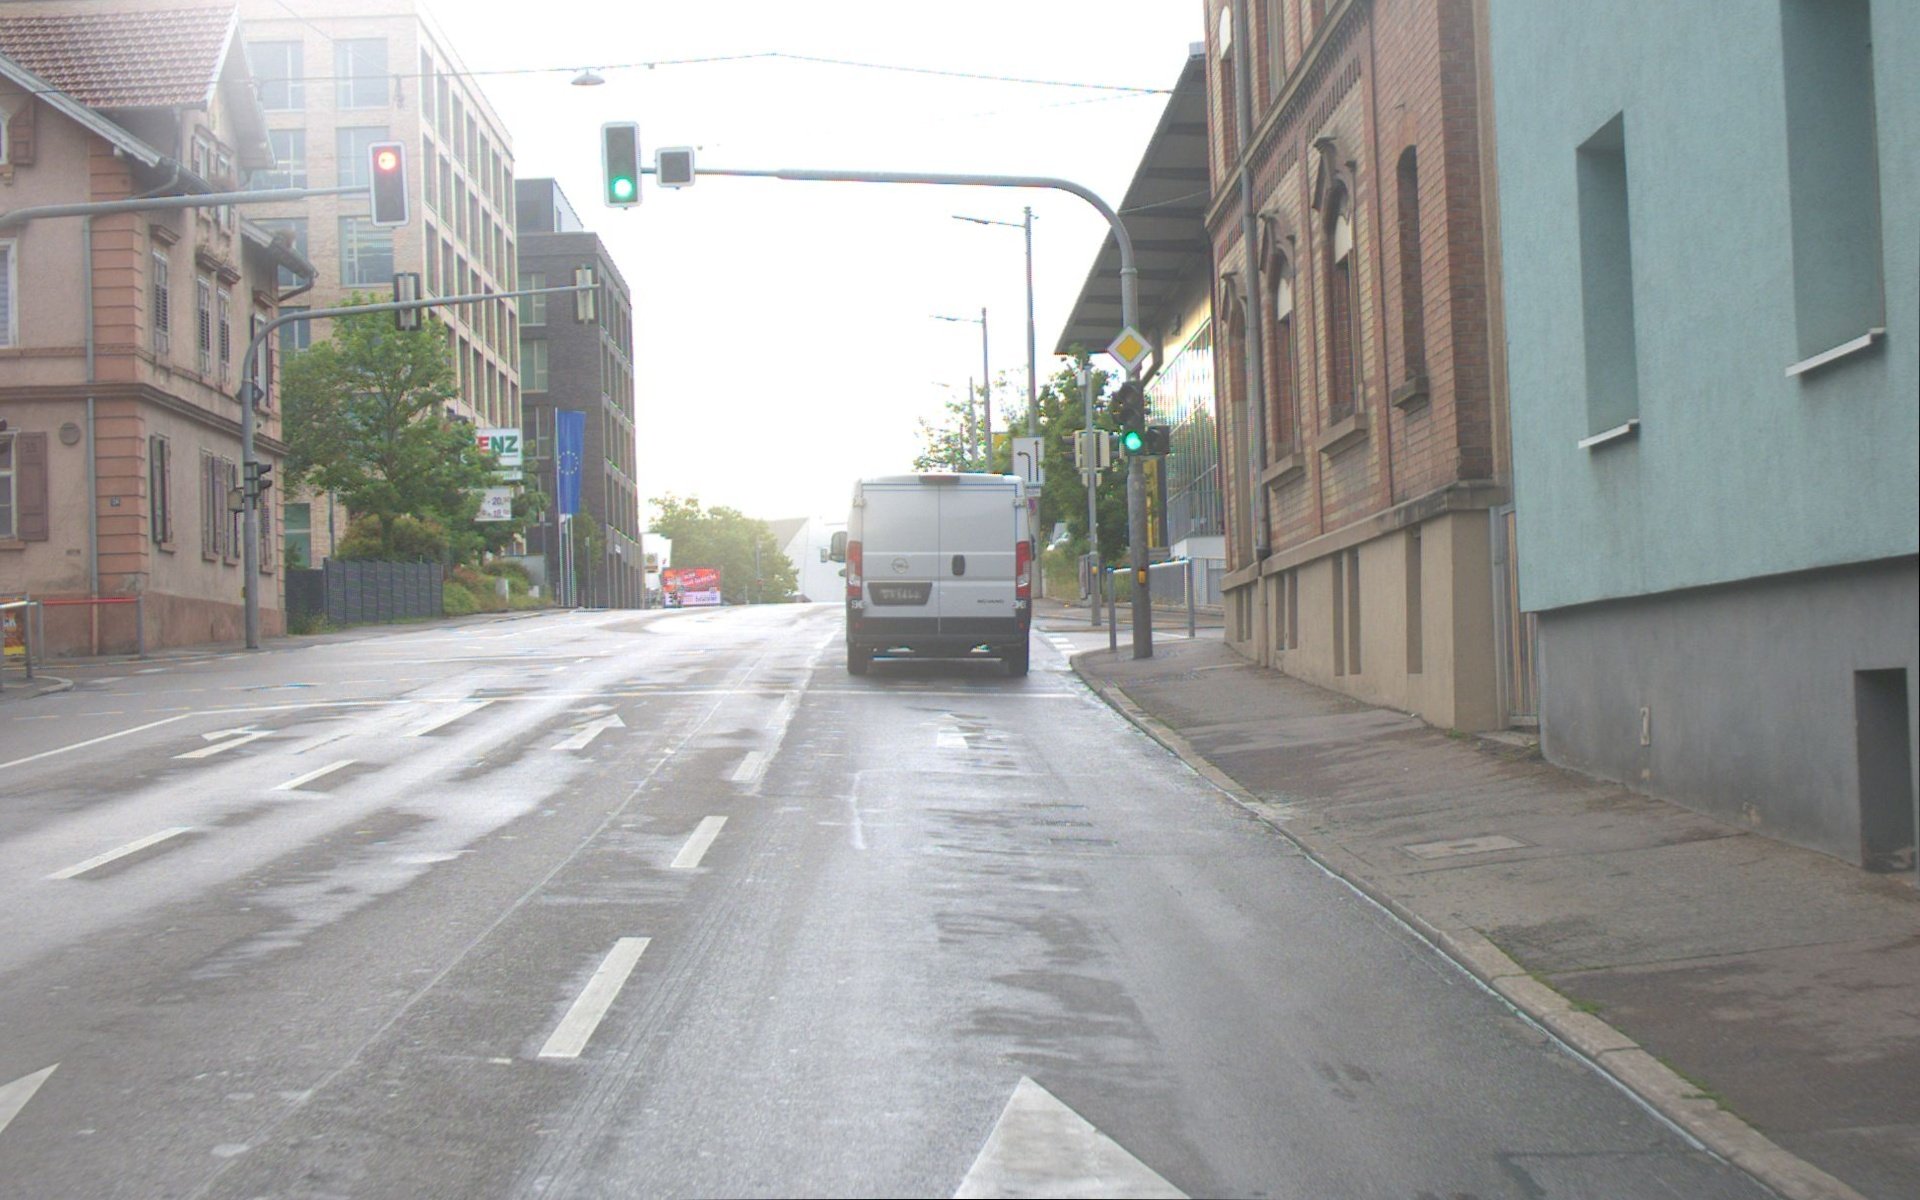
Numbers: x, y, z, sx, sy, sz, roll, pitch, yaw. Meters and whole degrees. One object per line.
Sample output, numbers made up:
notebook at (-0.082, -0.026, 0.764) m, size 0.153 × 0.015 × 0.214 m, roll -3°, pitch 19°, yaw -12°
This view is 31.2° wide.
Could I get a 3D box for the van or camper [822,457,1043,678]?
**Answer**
van or camper at (-0.315, -0.356, 39.511) m, size 2.340 × 2.349 × 5.199 m, roll -1°, pitch 0°, yaw 0°
